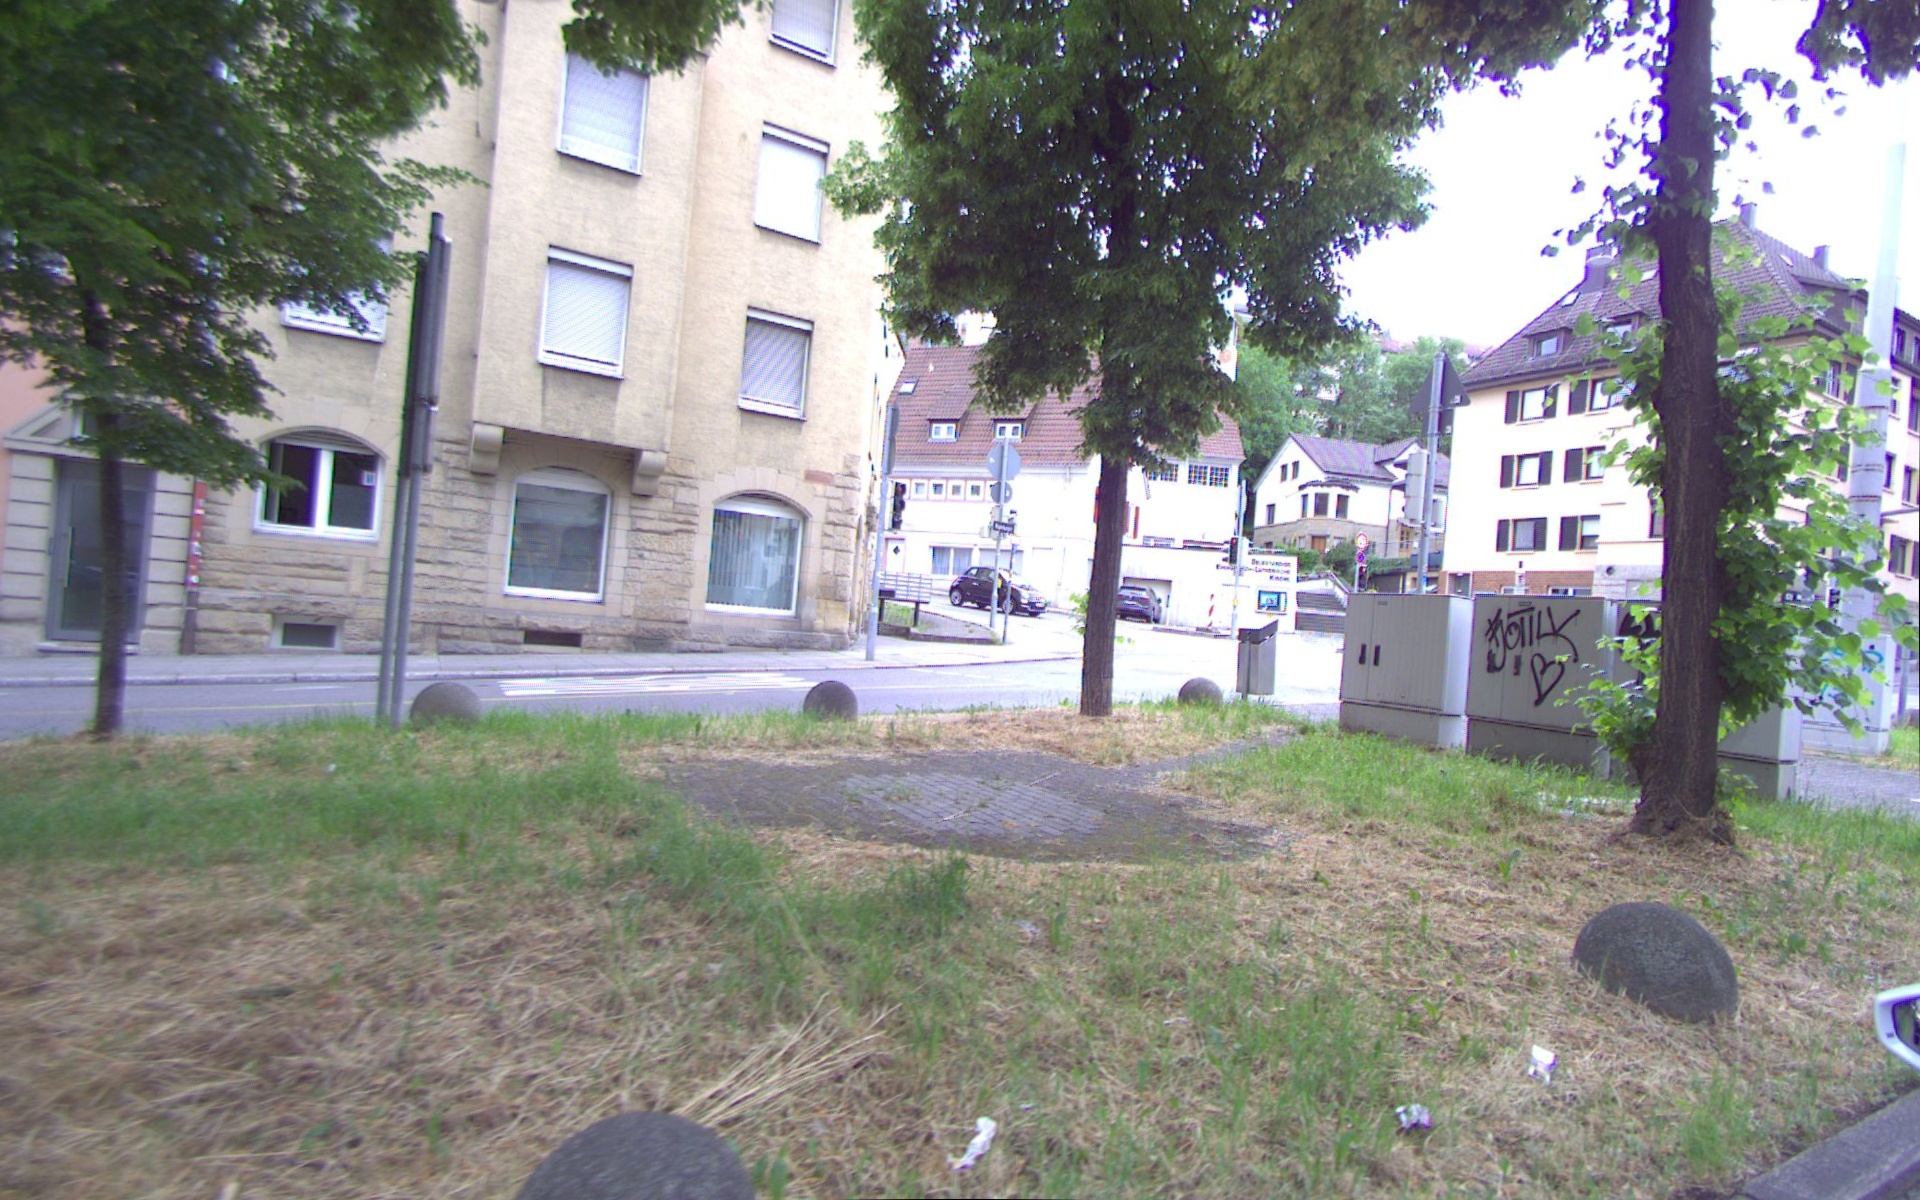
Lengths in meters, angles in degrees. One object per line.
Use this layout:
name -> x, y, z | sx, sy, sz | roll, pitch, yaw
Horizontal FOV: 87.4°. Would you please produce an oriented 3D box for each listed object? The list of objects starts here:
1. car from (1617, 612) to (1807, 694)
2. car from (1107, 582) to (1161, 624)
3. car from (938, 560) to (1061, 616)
car -> 15.616, 1.101, 20.837 | 3.774, 1.500, 1.613 | 3, -1, -27
car -> 7.238, 0.093, 42.036 | 1.639, 1.423, 3.057 | 7, 3, 2
car -> 1.314, -0.409, 33.957 | 3.652, 1.461, 1.756 | 8, 3, 34
